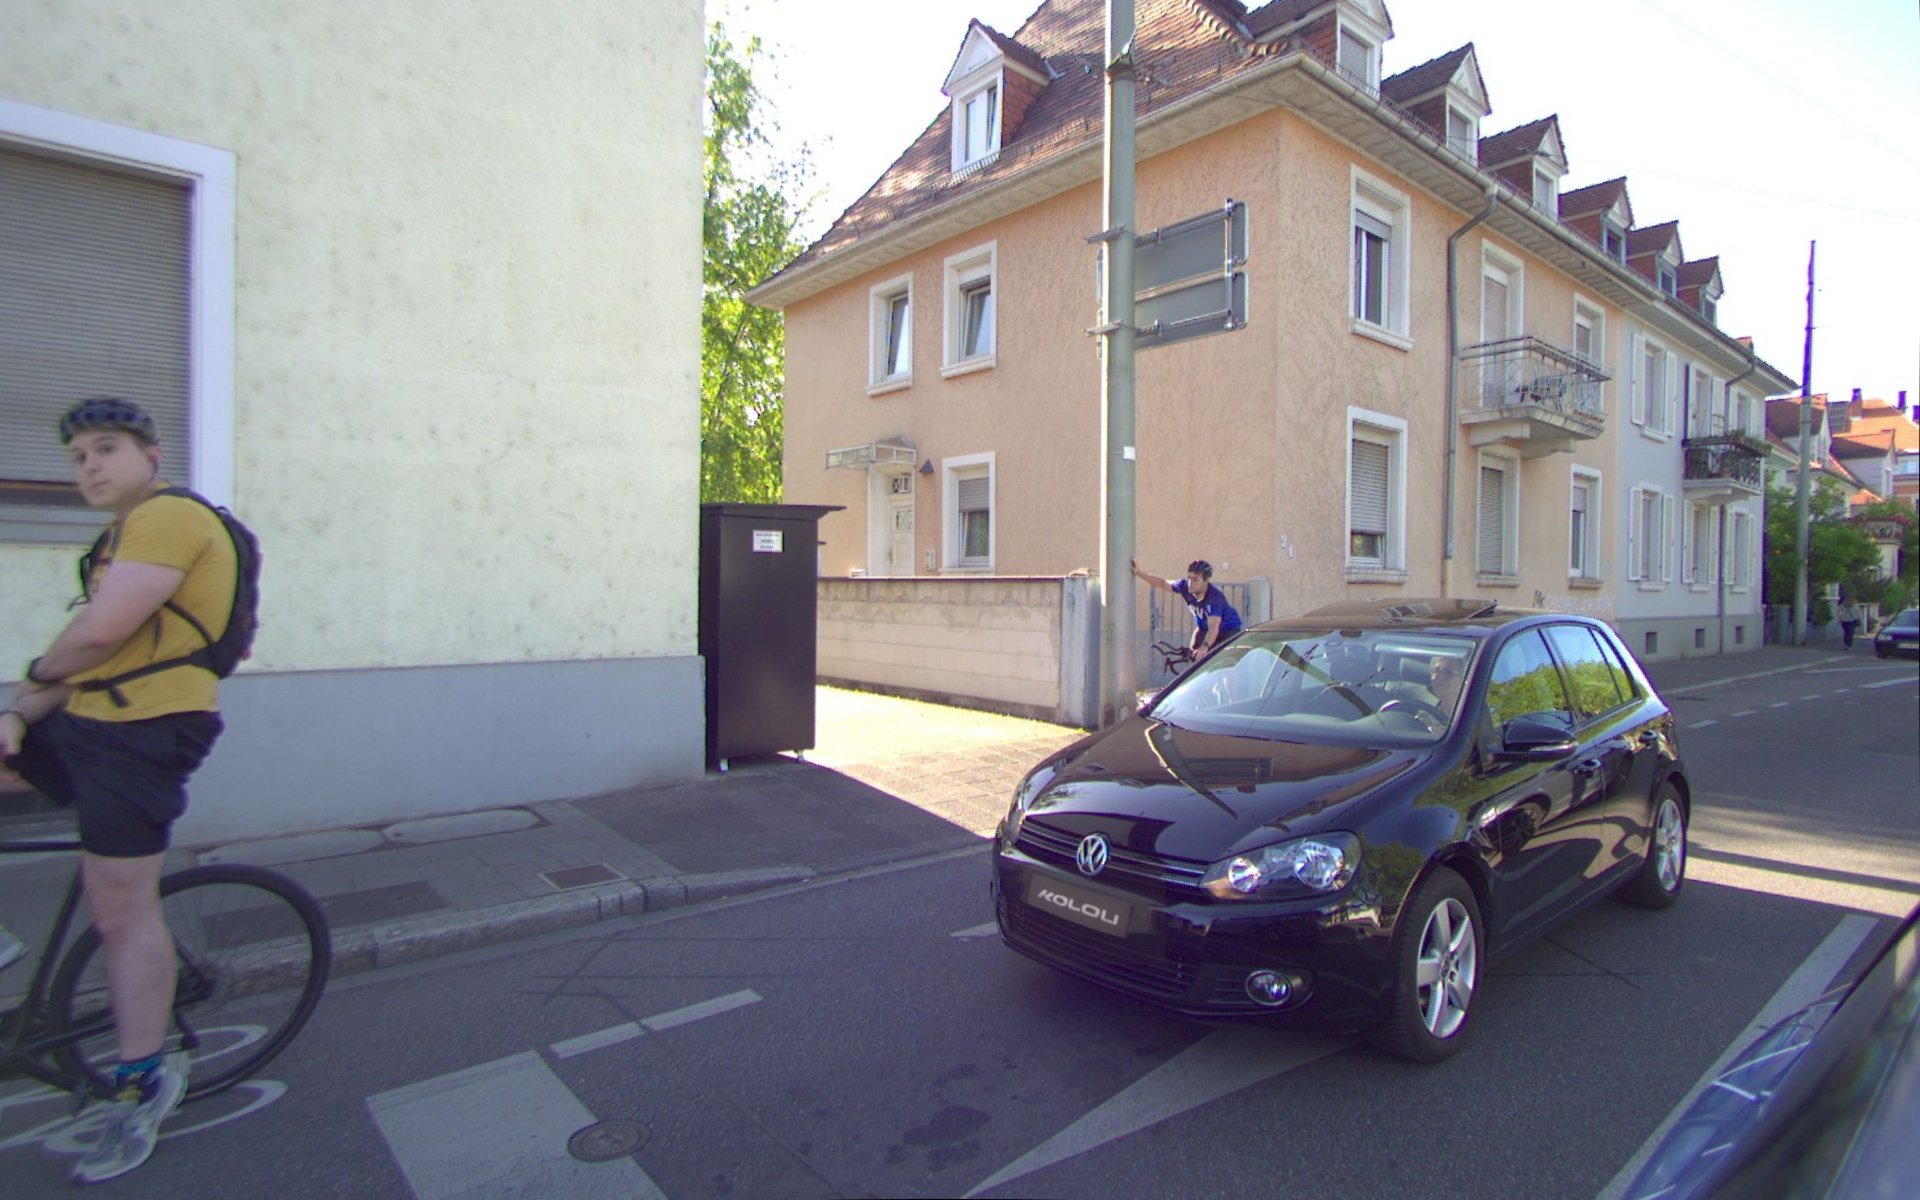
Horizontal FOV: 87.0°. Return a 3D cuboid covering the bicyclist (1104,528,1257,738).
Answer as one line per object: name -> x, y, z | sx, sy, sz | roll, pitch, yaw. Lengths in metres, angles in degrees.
bicyclist -> 1.961, 0.253, 9.035 | 1.018, 1.714, 0.718 | 6, 4, 42

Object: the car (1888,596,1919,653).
car -> 26.756, 0.627, 27.436 | 4.258, 1.448, 1.824 | -1, 0, -40

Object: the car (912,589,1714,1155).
car -> 1.846, 0.686, 4.571 | 3.921, 1.456, 1.716 | -1, 0, -41

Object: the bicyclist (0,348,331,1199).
bicyclist -> -2.294, 0.429, 2.736 | 0.777, 1.991, 0.768 | 0, 0, 36

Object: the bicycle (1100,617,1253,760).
bicycle -> 1.965, 0.734, 9.034 | 0.554, 1.088, 1.601 | 6, 4, 42

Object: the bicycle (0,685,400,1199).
bicycle -> -2.500, 0.860, 2.577 | 0.777, 1.120, 1.720 | 0, 0, 36
